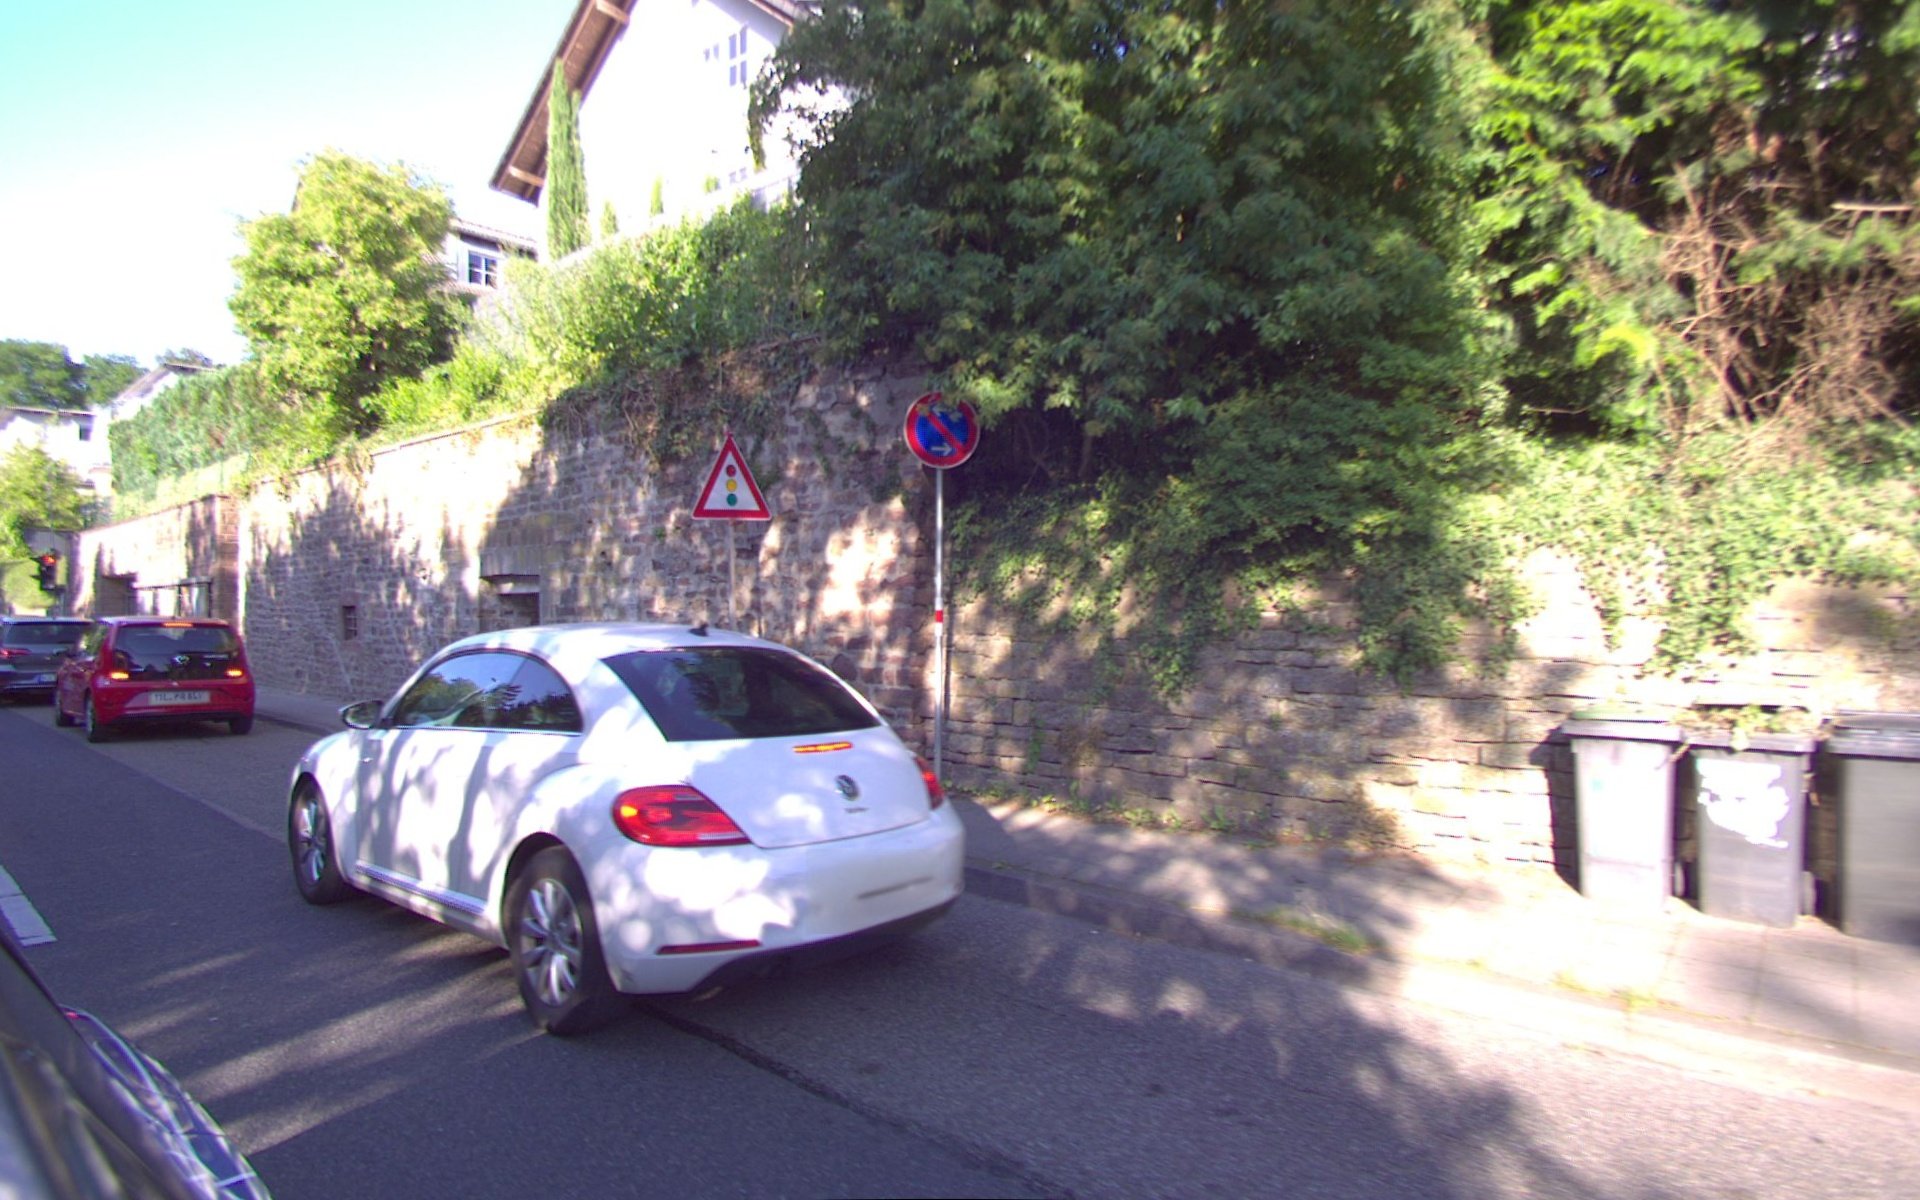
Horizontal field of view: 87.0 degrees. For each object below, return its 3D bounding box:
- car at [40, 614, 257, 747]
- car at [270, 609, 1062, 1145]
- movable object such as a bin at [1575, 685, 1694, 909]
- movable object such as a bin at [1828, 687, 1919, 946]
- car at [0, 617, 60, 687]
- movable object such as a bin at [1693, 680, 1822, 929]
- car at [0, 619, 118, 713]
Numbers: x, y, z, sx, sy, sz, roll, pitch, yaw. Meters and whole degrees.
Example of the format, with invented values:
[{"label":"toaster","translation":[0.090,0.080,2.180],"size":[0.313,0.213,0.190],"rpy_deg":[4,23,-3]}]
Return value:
[{"label":"car","translation":[-10.506,0.941,13.026],"size":[3.567,1.477,1.534],"rpy_deg":[-1,-3,41]},{"label":"car","translation":[-1.655,0.835,4.833],"size":[3.998,1.486,1.722],"rpy_deg":[0,-4,42]},{"label":"movable object such as a bin","translation":[3.296,0.922,4.936],"size":[0.438,0.944,0.578],"rpy_deg":[0,1,38]},{"label":"movable object such as a bin","translation":[4.044,0.905,4.356],"size":[0.438,0.992,0.567],"rpy_deg":[0,1,38]},{"label":"car","translation":[-20.961,1.085,21.928],"size":[3.559,1.432,1.611],"rpy_deg":[-1,-2,39]},{"label":"movable object such as a bin","translation":[3.648,0.893,4.643],"size":[0.438,0.992,0.567],"rpy_deg":[0,1,38]},{"label":"car","translation":[-15.819,1.047,17.206],"size":[3.928,1.422,1.632],"rpy_deg":[-1,-2,40]}]
